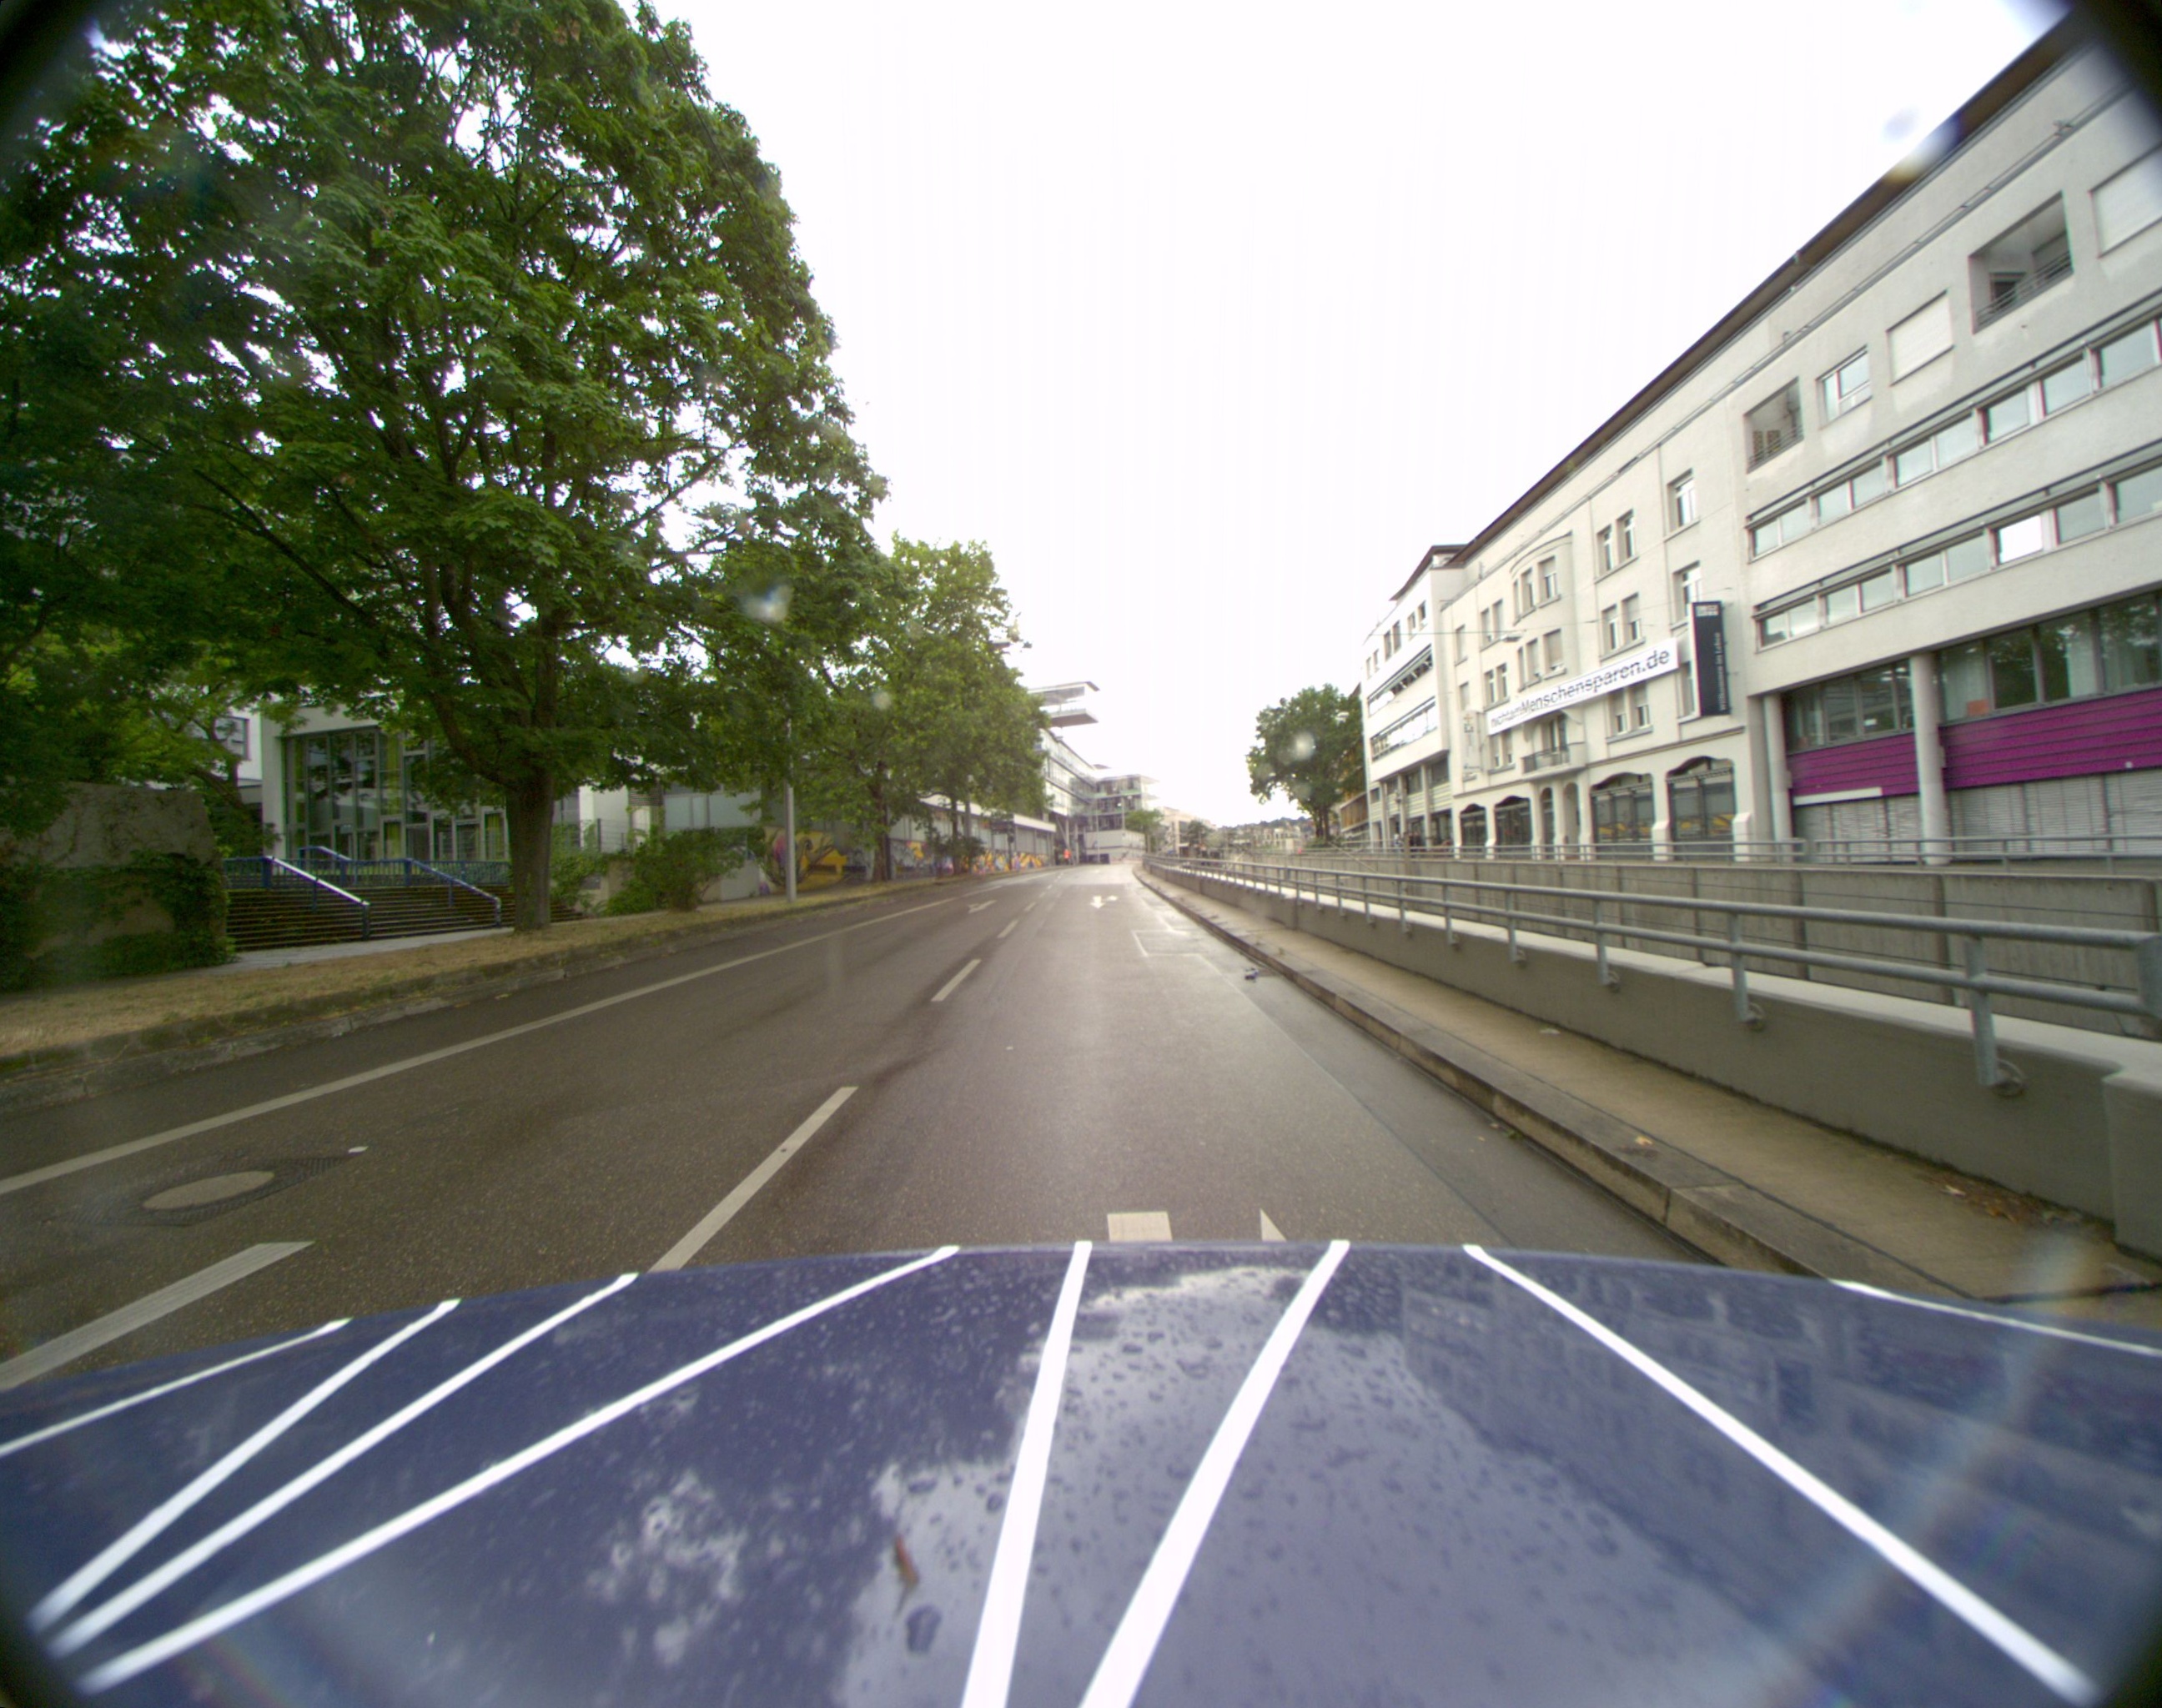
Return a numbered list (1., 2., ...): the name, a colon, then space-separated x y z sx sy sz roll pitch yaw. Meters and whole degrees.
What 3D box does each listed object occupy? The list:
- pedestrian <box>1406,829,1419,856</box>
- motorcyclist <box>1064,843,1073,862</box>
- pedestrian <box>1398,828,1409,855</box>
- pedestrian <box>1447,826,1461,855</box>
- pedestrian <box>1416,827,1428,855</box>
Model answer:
1. pedestrian: 22.477 -0.788 51.562 0.547 1.792 0.470 -4 1 -7
2. motorcyclist: -1.370 -0.159 84.193 0.755 2.002 1.001 -4 1 -7
3. pedestrian: 21.793 -0.847 51.404 0.469 1.792 0.548 -4 1 8
4. pedestrian: 23.226 -0.850 47.290 0.470 1.792 0.547 -4 1 0
5. pedestrian: 22.568 -0.863 50.300 0.470 1.792 0.547 -4 1 3
